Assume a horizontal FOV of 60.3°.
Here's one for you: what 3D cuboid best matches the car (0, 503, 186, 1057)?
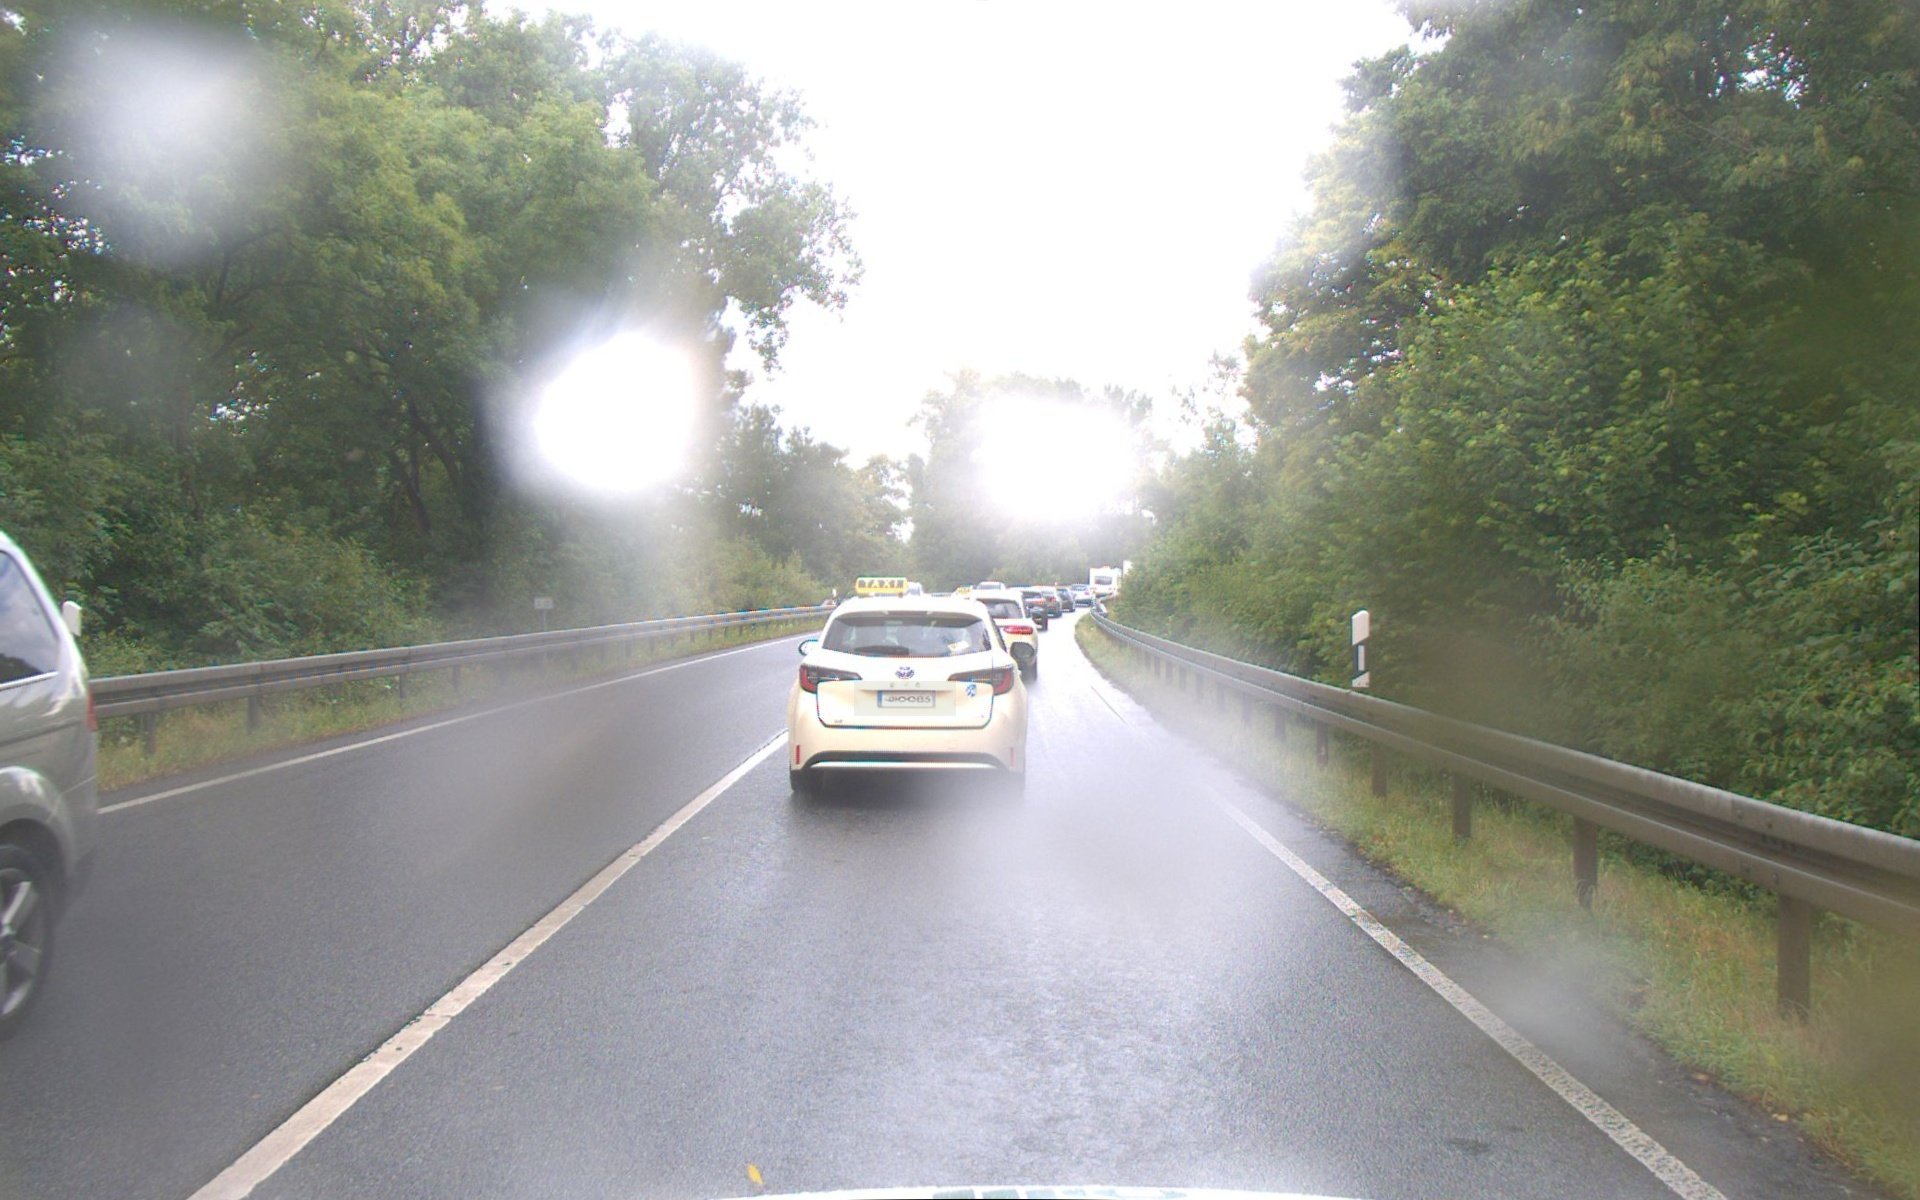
[{"bbox_3d":[-3.849,0.538,3.984,1.778,1.715,4.622,1,0,0],"label":"car"}]

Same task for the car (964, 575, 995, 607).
[{"bbox_3d":[1.334,-0.590,112.758,1.952,2.049,4.001,1,-1,2],"label":"car"}]

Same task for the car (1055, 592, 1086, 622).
[{"bbox_3d":[6.337,0.395,94.533,1.582,1.641,3.624,1,-1,6],"label":"car"}]

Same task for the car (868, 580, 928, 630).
[{"bbox_3d":[-1.983,0.151,54.029,1.769,1.559,4.206,0,0,1],"label":"car"}]

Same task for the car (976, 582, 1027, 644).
[{"bbox_3d":[1.083,0.336,44.188,1.274,1.574,3.260,1,-1,0],"label":"car"}]

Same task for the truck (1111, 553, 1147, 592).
[{"bbox_3d":[17.367,-2.792,169.491,3.041,3.745,7.006,1,-1,11],"label":"truck"}]

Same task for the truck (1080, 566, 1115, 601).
[{"bbox_3d":[11.546,-1.341,139.313,2.497,2.760,7.536,1,0,1],"label":"truck"}]

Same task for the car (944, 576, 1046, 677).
[{"bbox_3d":[0.644,0.450,28.821,1.633,1.608,3.893,1,-1,2],"label":"car"}]

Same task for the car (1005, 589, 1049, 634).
[{"bbox_3d":[2.442,0.444,60.736,1.578,1.574,3.814,0,-1,2],"label":"car"}]

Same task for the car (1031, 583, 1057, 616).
[{"bbox_3d":[4.080,-0.005,80.224,1.142,1.574,2.605,1,-1,6],"label":"car"}]

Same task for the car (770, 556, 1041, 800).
[{"bbox_3d":[-0.333,0.541,13.179,1.796,1.608,4.157,1,0,1],"label":"car"}]

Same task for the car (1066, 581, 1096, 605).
[{"bbox_3d":[8.309,-0.439,113.687,1.732,1.574,3.817,1,-1,9],"label":"car"}]
